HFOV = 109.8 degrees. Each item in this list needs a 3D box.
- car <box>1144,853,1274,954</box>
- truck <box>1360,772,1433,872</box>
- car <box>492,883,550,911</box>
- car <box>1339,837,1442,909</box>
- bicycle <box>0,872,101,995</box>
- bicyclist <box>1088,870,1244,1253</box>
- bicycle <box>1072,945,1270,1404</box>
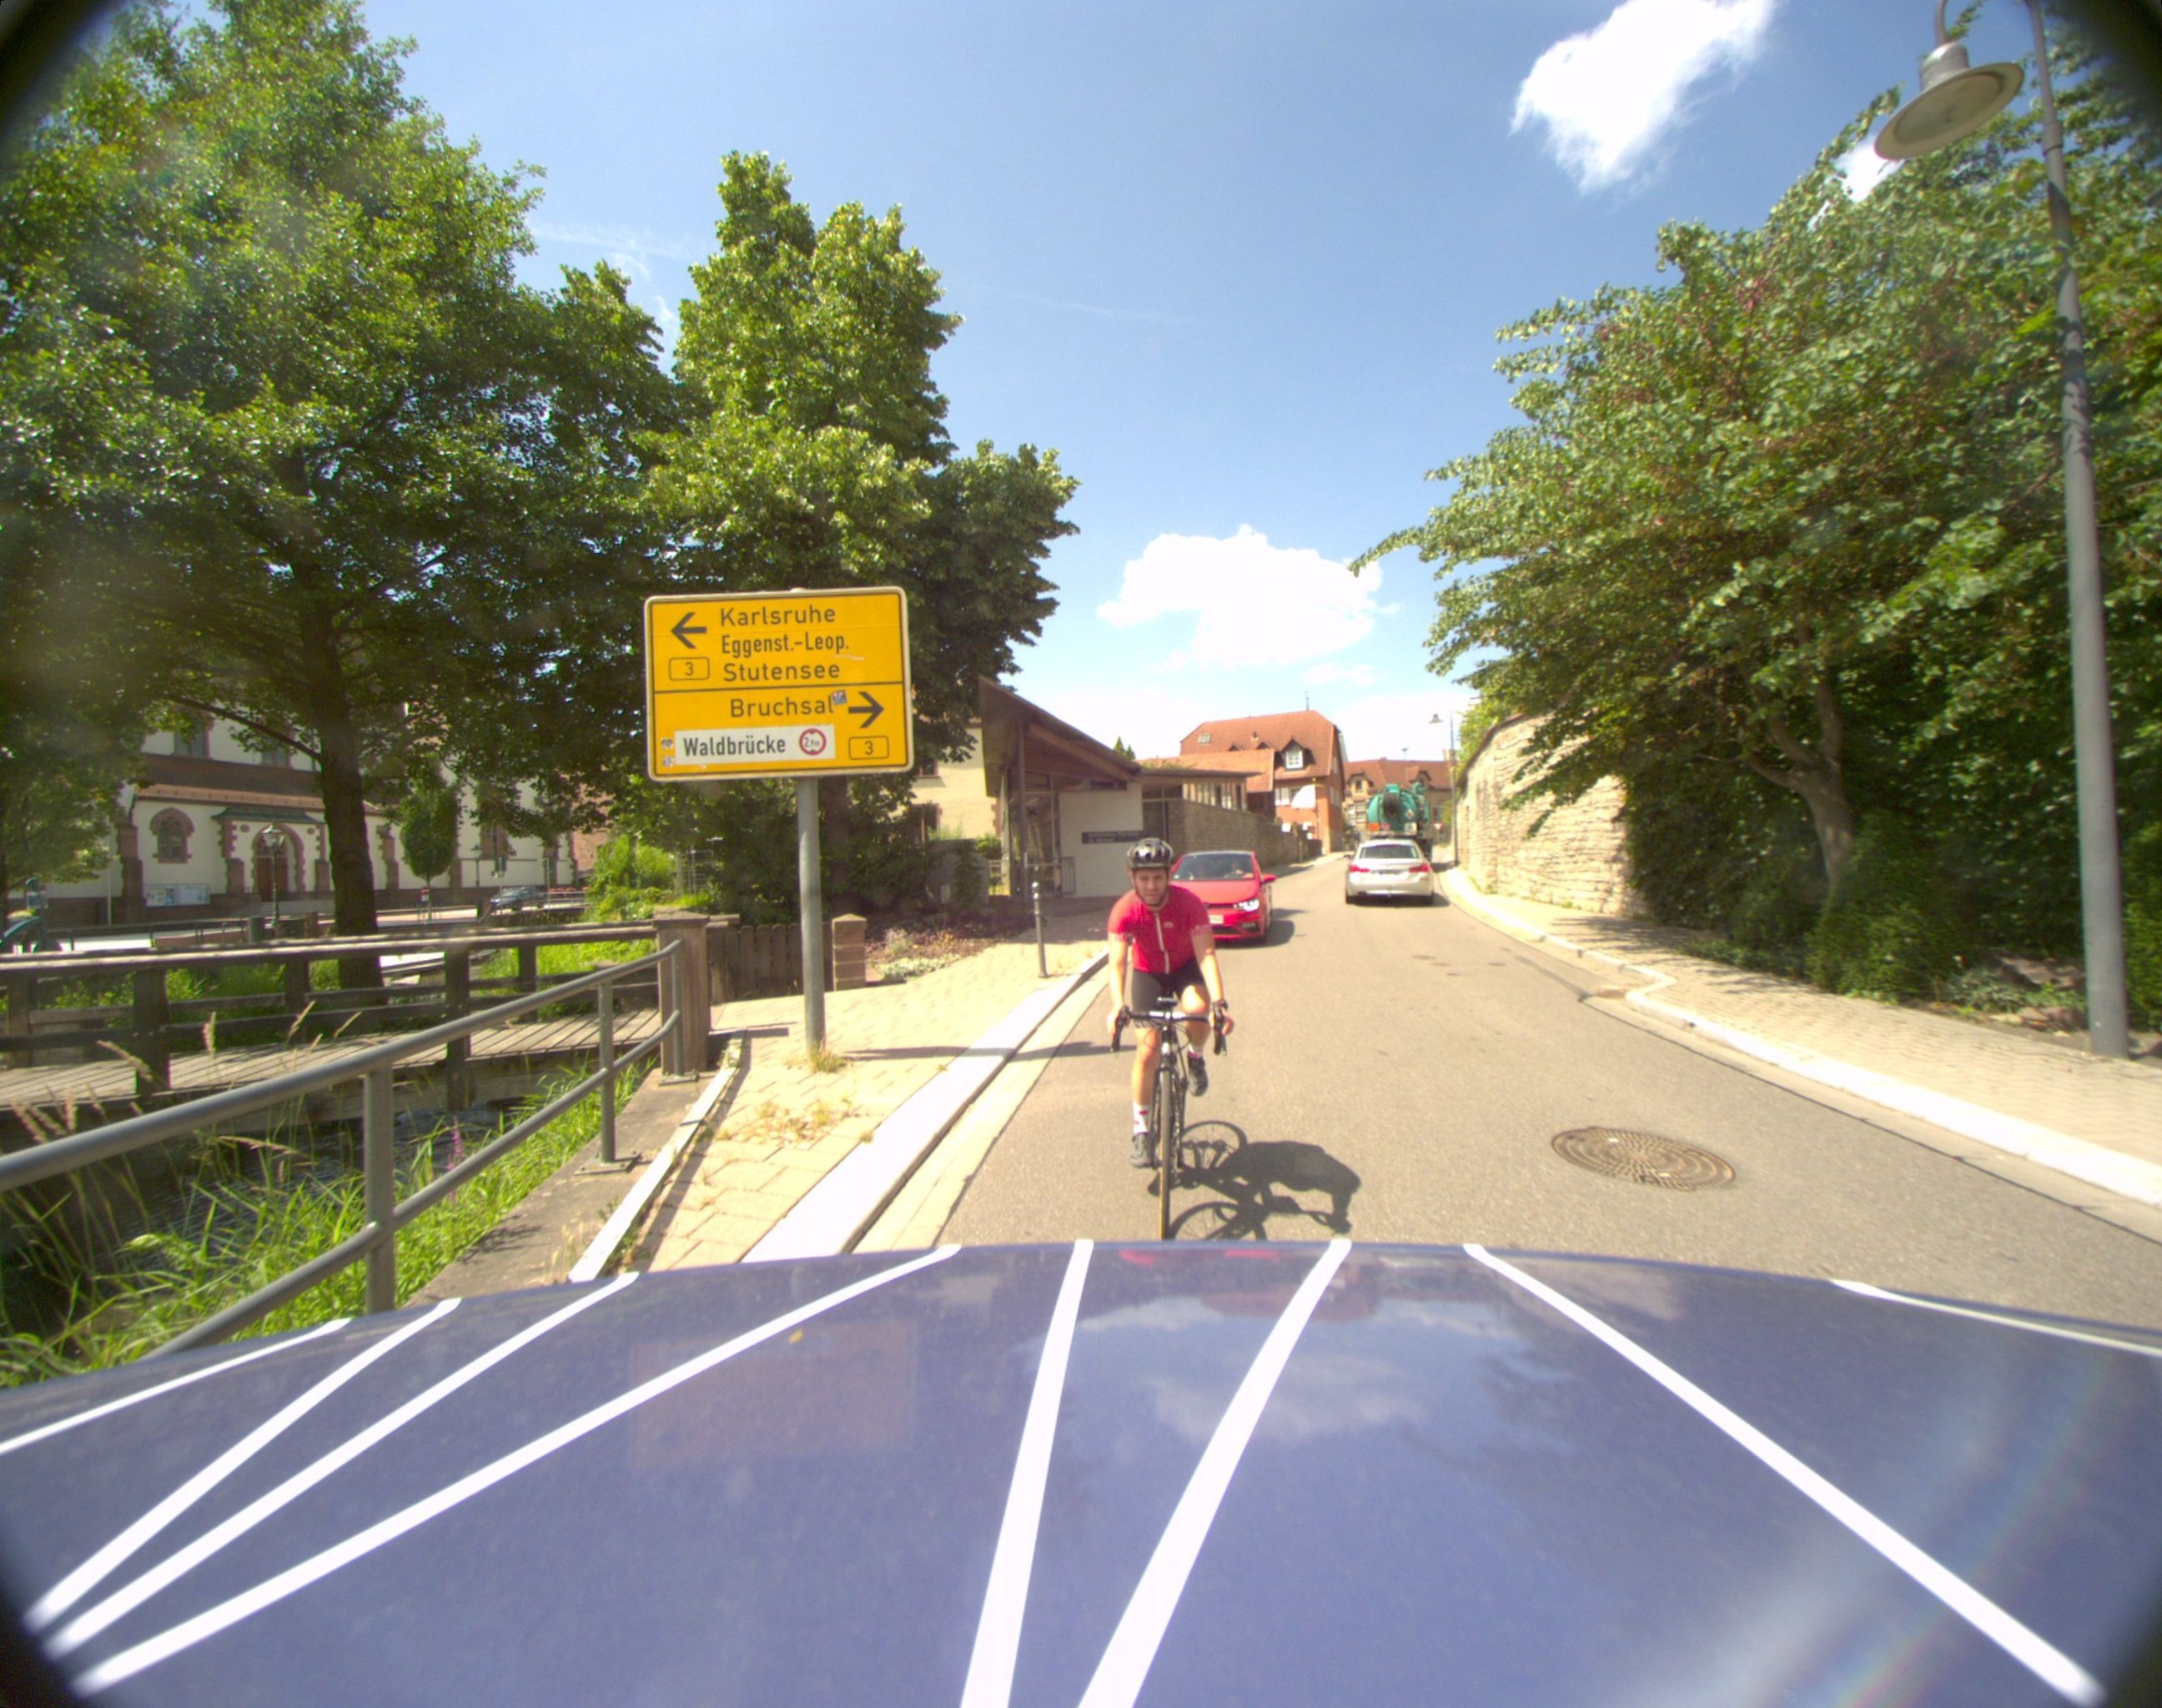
[{"bbox_3d":[2.225,0.710,12.450,1.667,1.344,3.498,-1,1,16],"label":"car"},{"bbox_3d":[13.727,-1.381,32.619,2.413,3.638,9.580,0,3,25],"label":"truck"},{"bbox_3d":[-35.670,2.710,48.506,1.671,1.496,3.806,-3,0,-15],"label":"car"},{"bbox_3d":[7.504,0.389,18.147,1.897,1.491,4.621,-1,0,27],"label":"car"},{"bbox_3d":[-18.649,1.359,13.281,0.784,2.002,2.661,-6,2,-31],"label":"bicycle"},{"bbox_3d":[0.338,0.777,3.181,0.532,1.396,0.755,-2,0,4],"label":"bicyclist"},{"bbox_3d":[0.330,1.041,3.198,0.531,1.070,2.055,-2,0,4],"label":"bicycle"}]
